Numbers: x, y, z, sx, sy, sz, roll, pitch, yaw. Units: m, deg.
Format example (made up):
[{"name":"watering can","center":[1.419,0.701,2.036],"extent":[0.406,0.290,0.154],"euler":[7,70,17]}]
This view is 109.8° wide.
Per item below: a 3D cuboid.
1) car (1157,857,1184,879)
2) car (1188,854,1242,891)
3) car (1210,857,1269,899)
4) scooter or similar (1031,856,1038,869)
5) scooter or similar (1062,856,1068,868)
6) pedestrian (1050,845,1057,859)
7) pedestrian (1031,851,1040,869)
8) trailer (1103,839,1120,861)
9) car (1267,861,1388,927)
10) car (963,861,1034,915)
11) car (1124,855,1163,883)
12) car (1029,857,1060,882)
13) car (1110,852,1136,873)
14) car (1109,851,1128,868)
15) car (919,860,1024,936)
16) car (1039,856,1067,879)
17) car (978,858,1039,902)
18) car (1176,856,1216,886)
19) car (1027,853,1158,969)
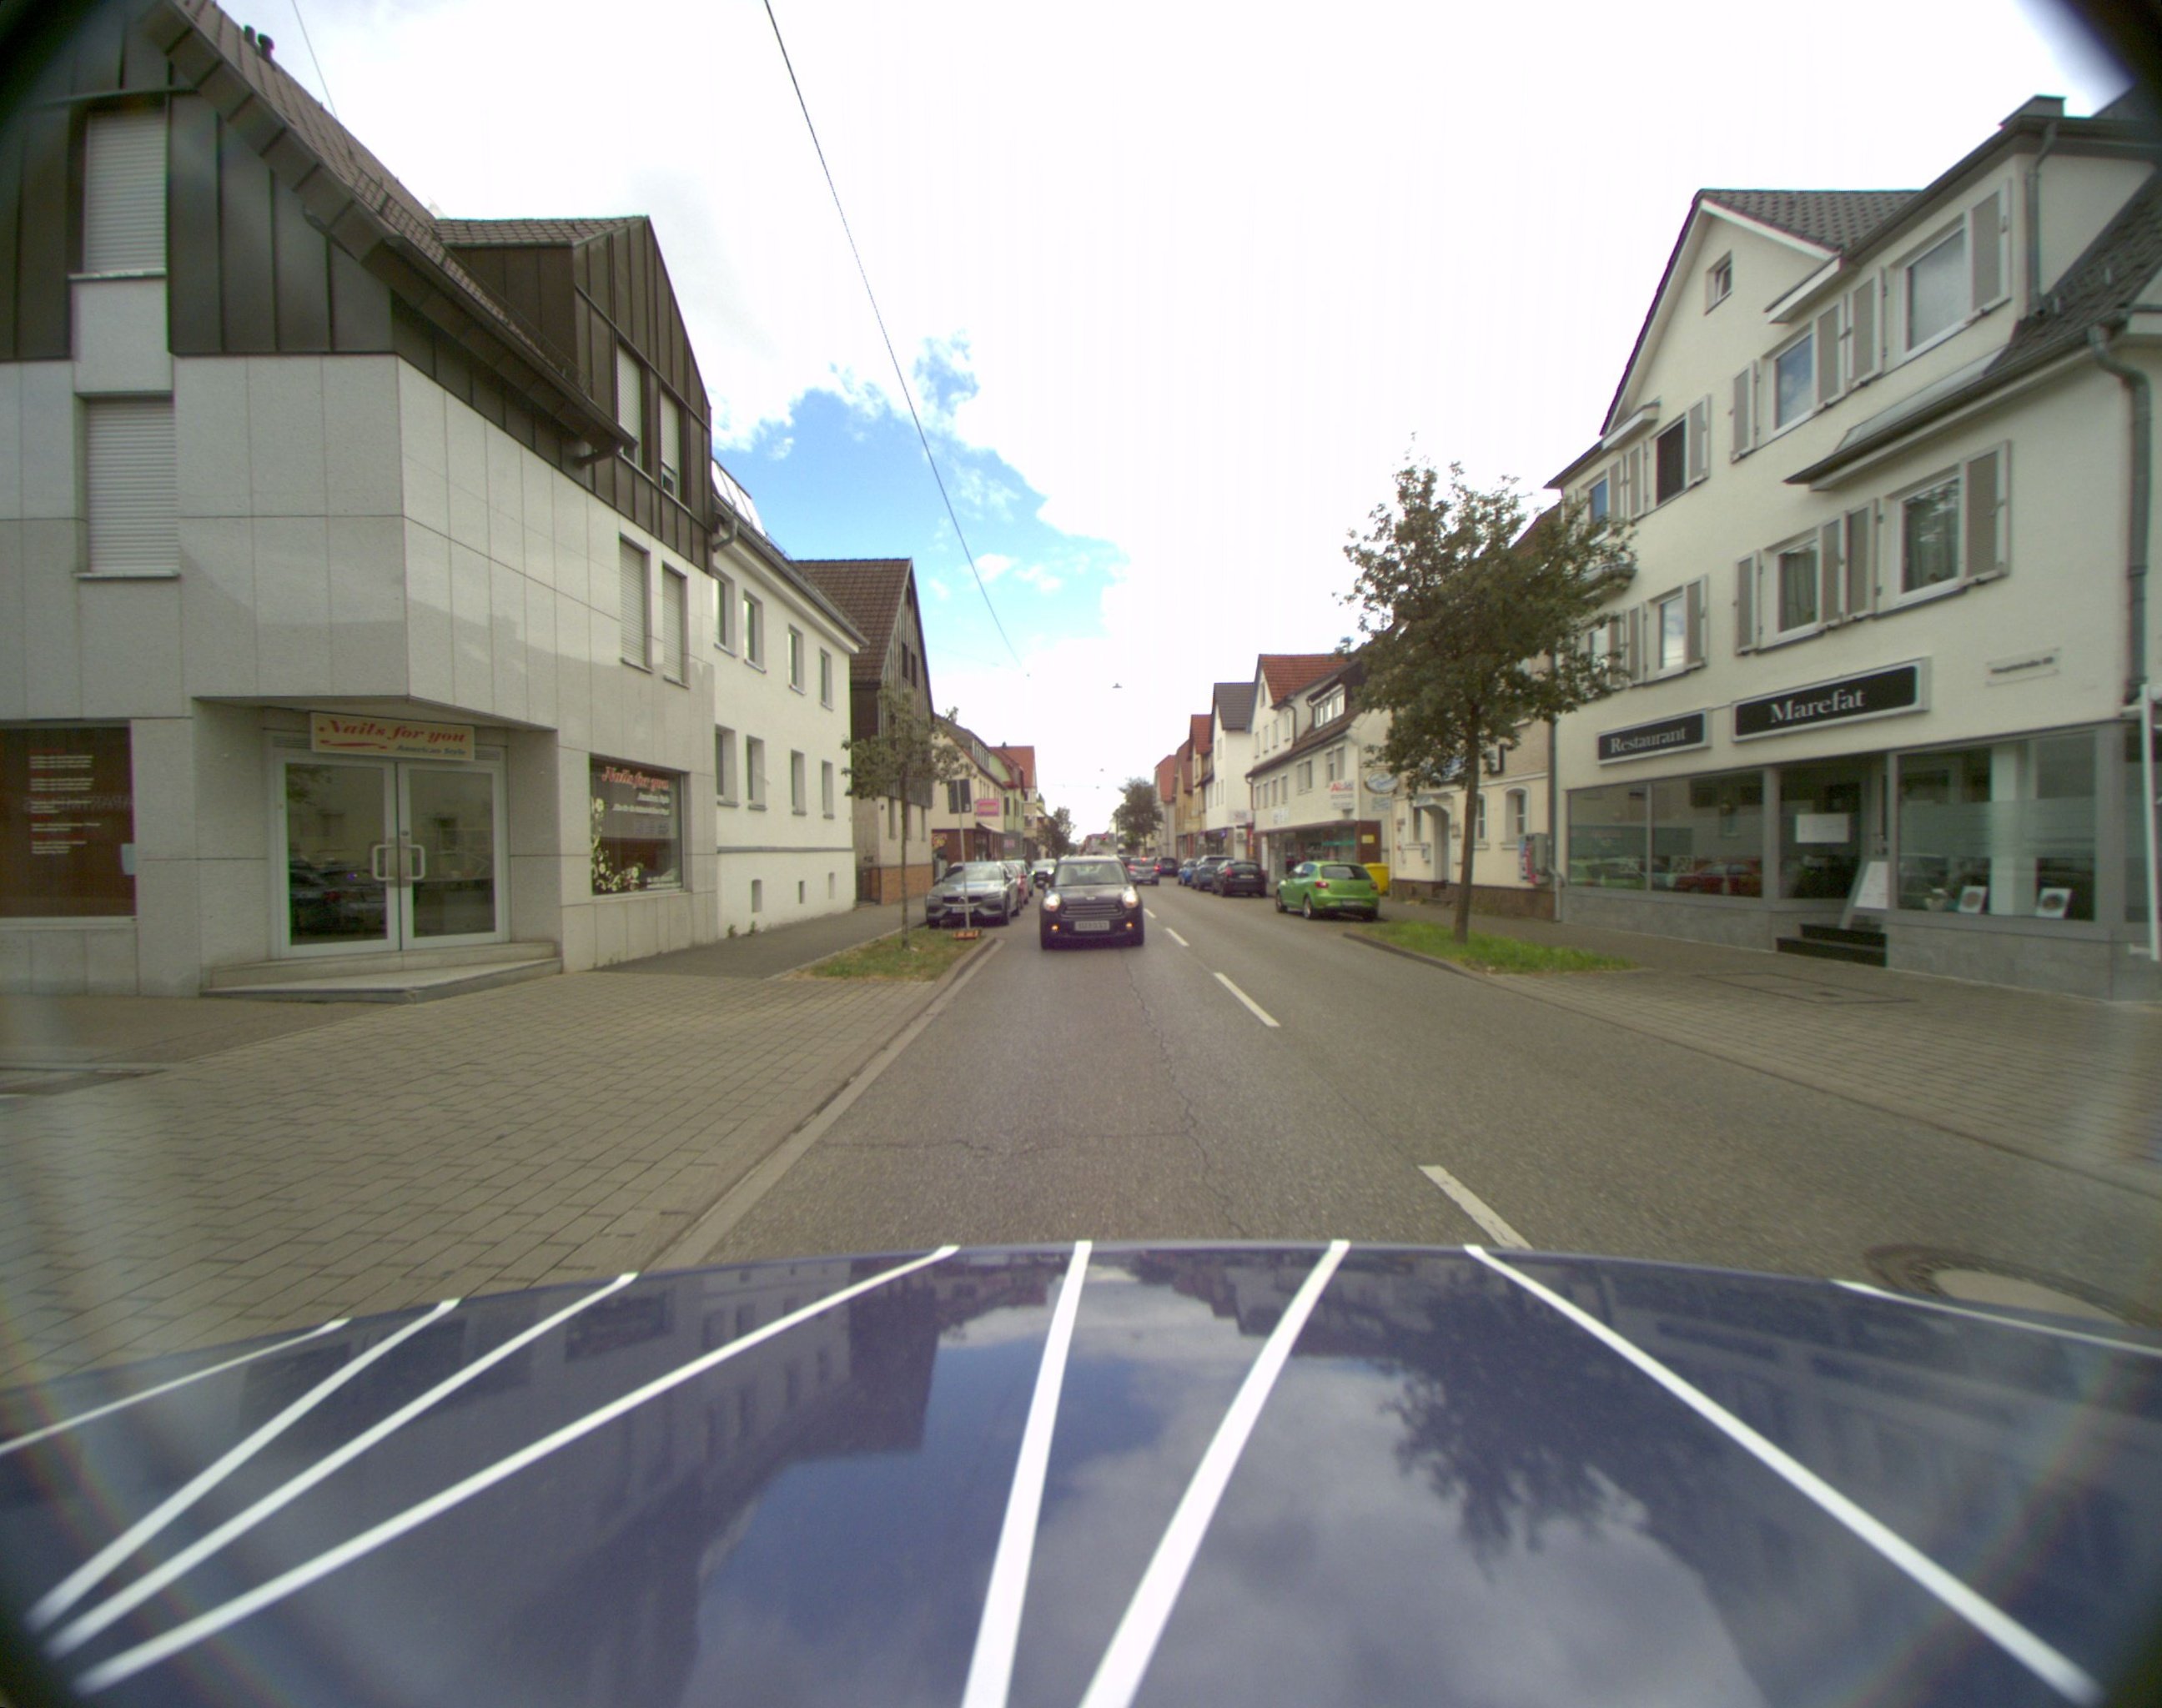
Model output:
[{"name":"car","center":[6.698,1.021,57.028],"extent":[1.686,1.484,3.591],"euler":[1,0,1]},{"name":"car","center":[6.141,0.801,35.215],"extent":[1.807,1.590,4.304],"euler":[1,0,1]},{"name":"car","center":[6.190,0.904,30.031],"extent":[1.585,1.499,3.812],"euler":[1,1,1]},{"name":"scooter or similar","center":[-4.532,0.788,73.697],"extent":[0.591,1.225,0.891],"euler":[-2,1,0]},{"name":"scooter or similar","center":[-1.627,0.804,77.909],"extent":[0.503,1.228,1.942],"euler":[-2,1,0]},{"name":"pedestrian","center":[-4.085,-0.243,112.164],"extent":[0.826,2.062,1.011],"euler":[2,1,3]},{"name":"pedestrian","center":[-4.452,0.612,74.622],"extent":[0.752,1.710,0.900],"euler":[-2,1,1]},{"name":"trailer","center":[4.934,-0.690,120.927],"extent":[2.509,3.201,7.135],"euler":[-1,1,3]},{"name":"car","center":[6.170,0.953,19.501],"extent":[1.687,1.439,4.019],"euler":[1,0,-2]},{"name":"car","center":[-2.537,1.020,24.349],"extent":[1.759,1.437,4.454],"euler":[-2,0,0]},{"name":"car","center":[3.392,0.796,42.060],"extent":[1.687,1.439,4.019],"euler":[1,0,-2]},{"name":"car","center":[-2.342,0.927,48.296],"extent":[1.836,1.437,4.108],"euler":[-2,0,-3]},{"name":"car","center":[3.231,0.649,59.248],"extent":[1.799,1.569,4.192],"euler":[1,0,1]},{"name":"car","center":[4.031,0.539,81.414],"extent":[1.905,1.727,4.366],"euler":[1,0,1]},{"name":"car","center":[-2.572,0.986,18.948],"extent":[1.880,1.530,4.512],"euler":[-2,0,0]},{"name":"car","center":[-1.972,0.928,54.482],"extent":[1.836,1.437,4.330],"euler":[-2,0,-2]},{"name":"car","center":[-2.732,0.951,29.400],"extent":[1.835,1.489,3.993],"euler":[-2,0,1]},{"name":"car","center":[6.203,0.886,41.302],"extent":[1.686,1.490,3.775],"euler":[1,0,1]},{"name":"car","center":[0.187,0.842,13.411],"extent":[1.847,1.571,4.428],"euler":[-3,0,0]}]
